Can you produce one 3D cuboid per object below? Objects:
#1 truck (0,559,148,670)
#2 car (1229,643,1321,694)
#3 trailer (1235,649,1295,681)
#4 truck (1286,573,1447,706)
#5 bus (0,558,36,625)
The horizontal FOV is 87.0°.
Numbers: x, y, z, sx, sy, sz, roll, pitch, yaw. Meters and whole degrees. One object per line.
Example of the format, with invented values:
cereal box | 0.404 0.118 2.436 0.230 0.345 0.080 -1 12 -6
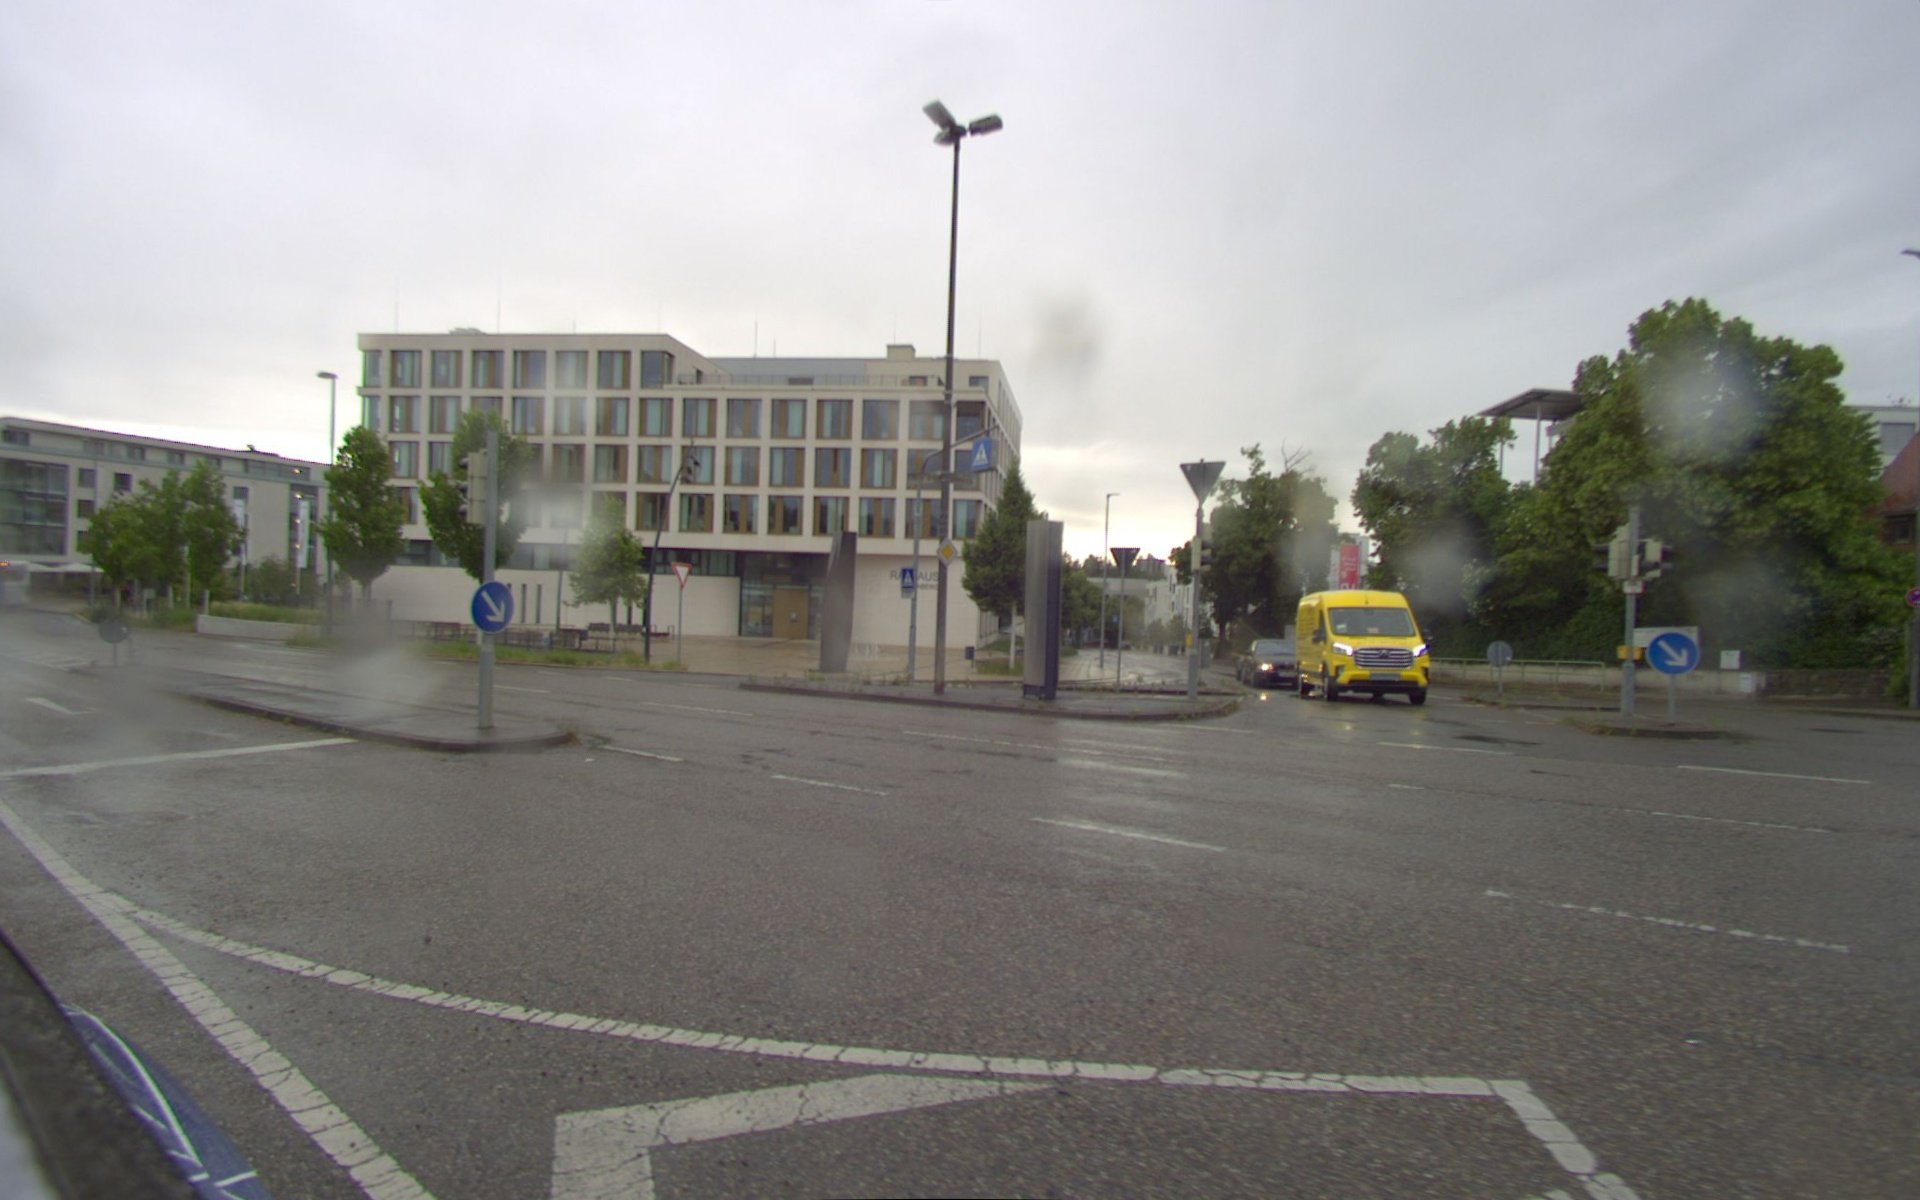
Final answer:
truck | -22.280 0.330 25.220 6.197 2.458 2.141 0 0 41
car | 9.288 1.994 30.167 1.843 1.327 4.345 1 -2 7
trailer | 10.452 2.211 34.828 1.589 0.986 2.281 1 -2 8
truck | 8.939 0.882 22.893 2.205 2.557 6.153 1 -2 11
bus | -65.659 -0.572 66.796 18.187 4.025 2.918 0 -2 35
